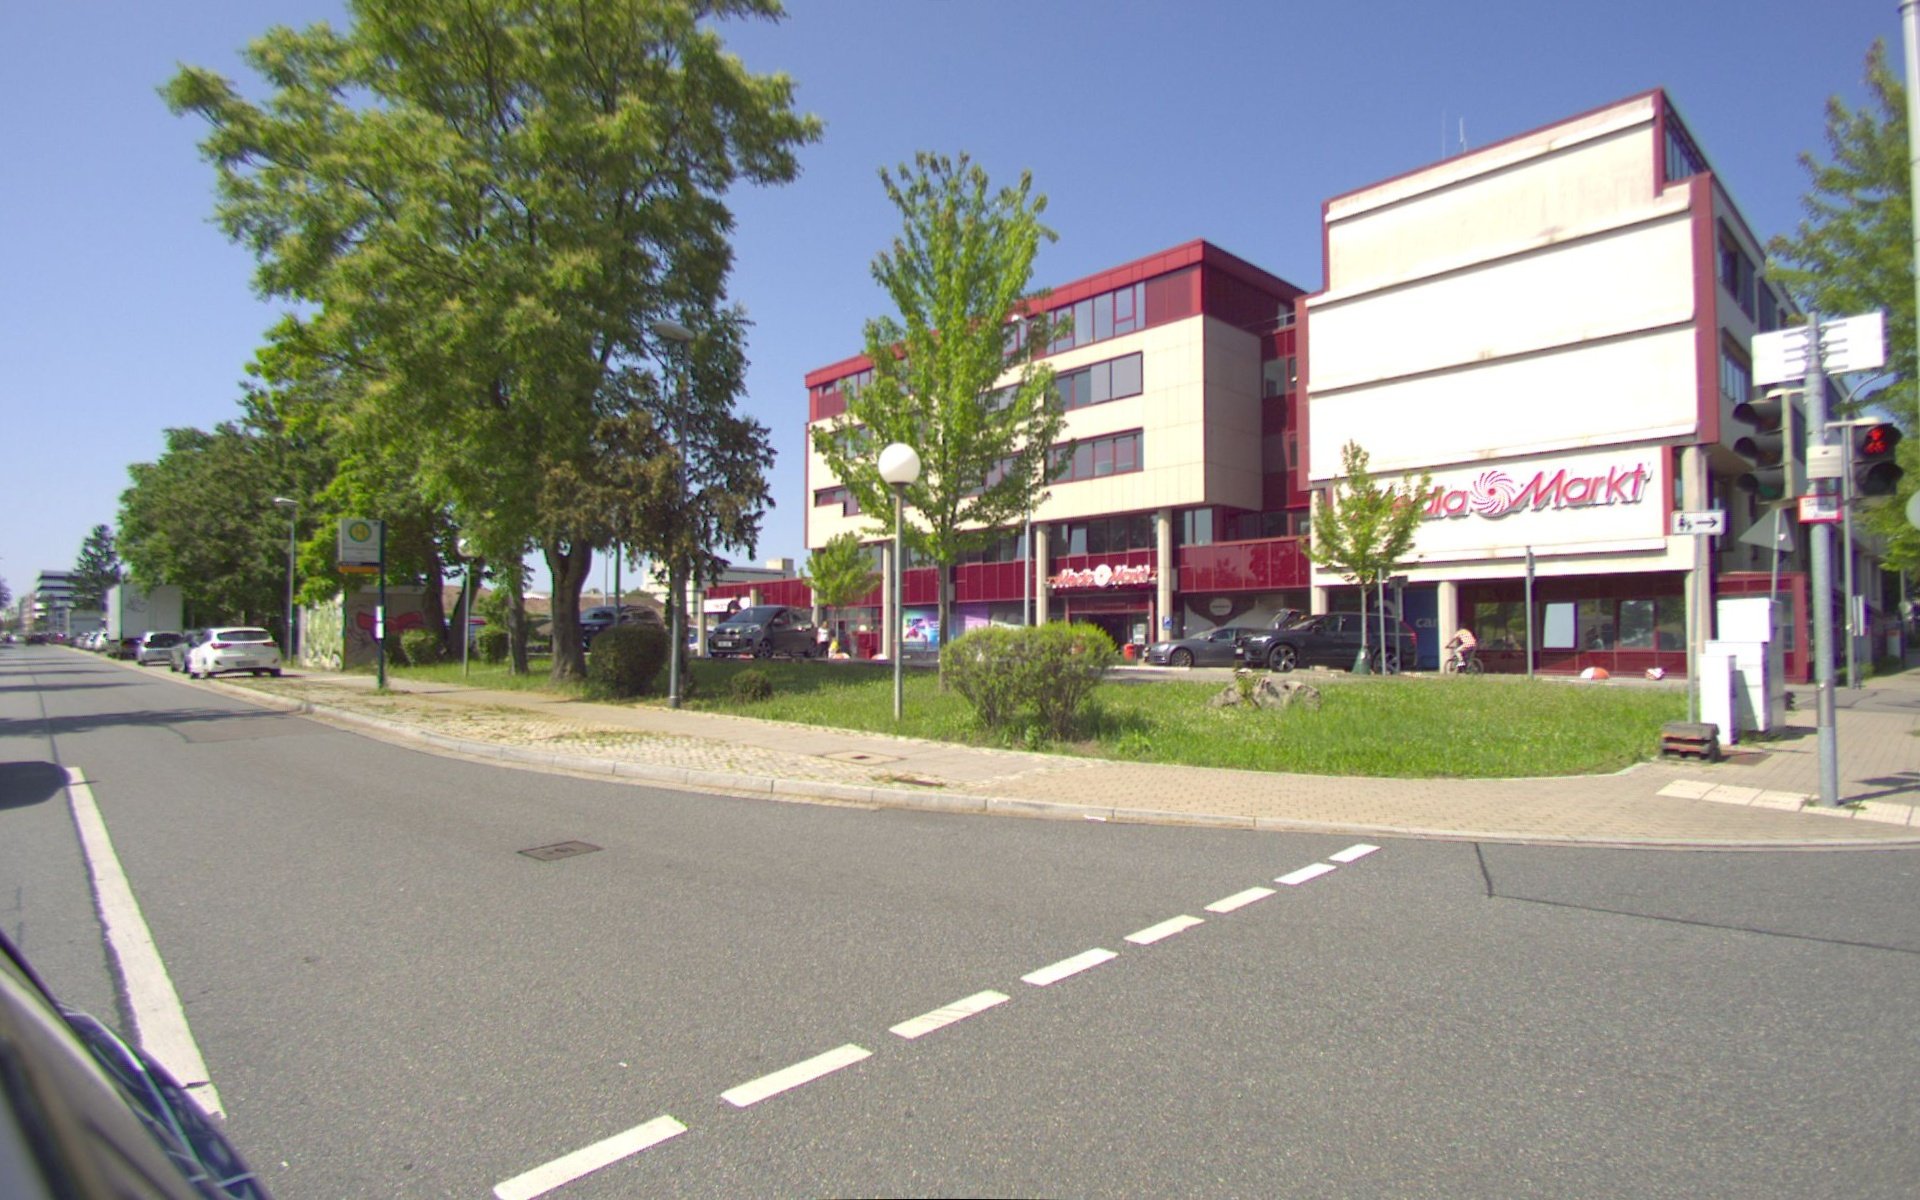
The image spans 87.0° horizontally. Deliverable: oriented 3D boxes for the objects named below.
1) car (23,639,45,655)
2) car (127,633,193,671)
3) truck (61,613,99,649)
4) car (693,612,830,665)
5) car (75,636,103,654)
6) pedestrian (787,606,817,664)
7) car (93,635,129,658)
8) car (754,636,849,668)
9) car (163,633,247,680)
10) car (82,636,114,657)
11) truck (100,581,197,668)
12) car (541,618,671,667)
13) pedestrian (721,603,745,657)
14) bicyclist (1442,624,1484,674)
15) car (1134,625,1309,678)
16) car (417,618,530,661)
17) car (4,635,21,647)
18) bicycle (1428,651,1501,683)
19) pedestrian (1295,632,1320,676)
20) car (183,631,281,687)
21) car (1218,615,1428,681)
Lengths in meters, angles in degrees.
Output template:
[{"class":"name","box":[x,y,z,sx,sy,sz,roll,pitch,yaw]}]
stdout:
[{"class":"car","box":[-109.074,5.533,119.225,1.765,1.807,4.004,2,-3,-42]},{"class":"car","box":[-34.436,2.228,43.537,1.789,1.527,4.002,0,-2,-45]},{"class":"truck","box":[-86.636,3.095,99.742,2.662,3.345,7.353,2,-3,-40]},{"class":"car","box":[-5.365,1.032,27.813,1.708,1.348,3.956,-2,-1,25]},{"class":"car","box":[-75.891,3.916,88.144,1.788,1.527,4.005,0,-2,-42]},{"class":"pedestrian","box":[-4.255,0.956,27.355,0.745,1.539,0.565,0,-2,-2]},{"class":"car","box":[-59.720,3.234,71.129,1.788,1.527,4.005,0,-2,-42]},{"class":"car","box":[-7.348,2.422,47.255,4.179,1.463,1.723,0,-2,-1]},{"class":"car","box":[-26.224,1.926,35.105,1.789,1.527,4.002,1,-2,-45]},{"class":"car","box":[-67.404,3.604,79.083,1.788,1.527,4.005,0,-2,-42]},{"class":"truck","box":[-42.875,1.336,53.322,3.305,4.175,9.286,0,-2,-43]},{"class":"car","box":[-11.656,1.360,33.698,1.834,1.504,4.796,-1,-1,13]},{"class":"pedestrian","box":[-6.466,0.858,28.828,0.555,1.539,0.759,1,-3,-22]},{"class":"bicyclist","box":[15.310,1.481,30.816,0.711,1.459,0.923,0,-1,-42]},{"class":"car","box":[7.885,1.568,30.844,4.800,1.504,1.918,1,-3,-1]},{"class":"car","box":[-21.727,1.785,45.404,1.982,1.818,4.692,-2,-3,16]},{"class":"car","box":[-143.139,6.162,152.907,1.738,1.807,4.006,2,-3,-41]},{"class":"bicycle","box":[15.331,2.026,30.792,0.717,0.855,1.845,0,-1,-41]},{"class":"pedestrian","box":[10.796,1.672,31.435,0.455,1.366,0.522,1,-3,-32]},{"class":"car","box":[-21.358,1.690,29.625,1.741,1.504,4.002,0,-2,-45]},{"class":"car","box":[10.033,1.370,28.213,5.036,1.606,2.190,2,-5,-7]}]
